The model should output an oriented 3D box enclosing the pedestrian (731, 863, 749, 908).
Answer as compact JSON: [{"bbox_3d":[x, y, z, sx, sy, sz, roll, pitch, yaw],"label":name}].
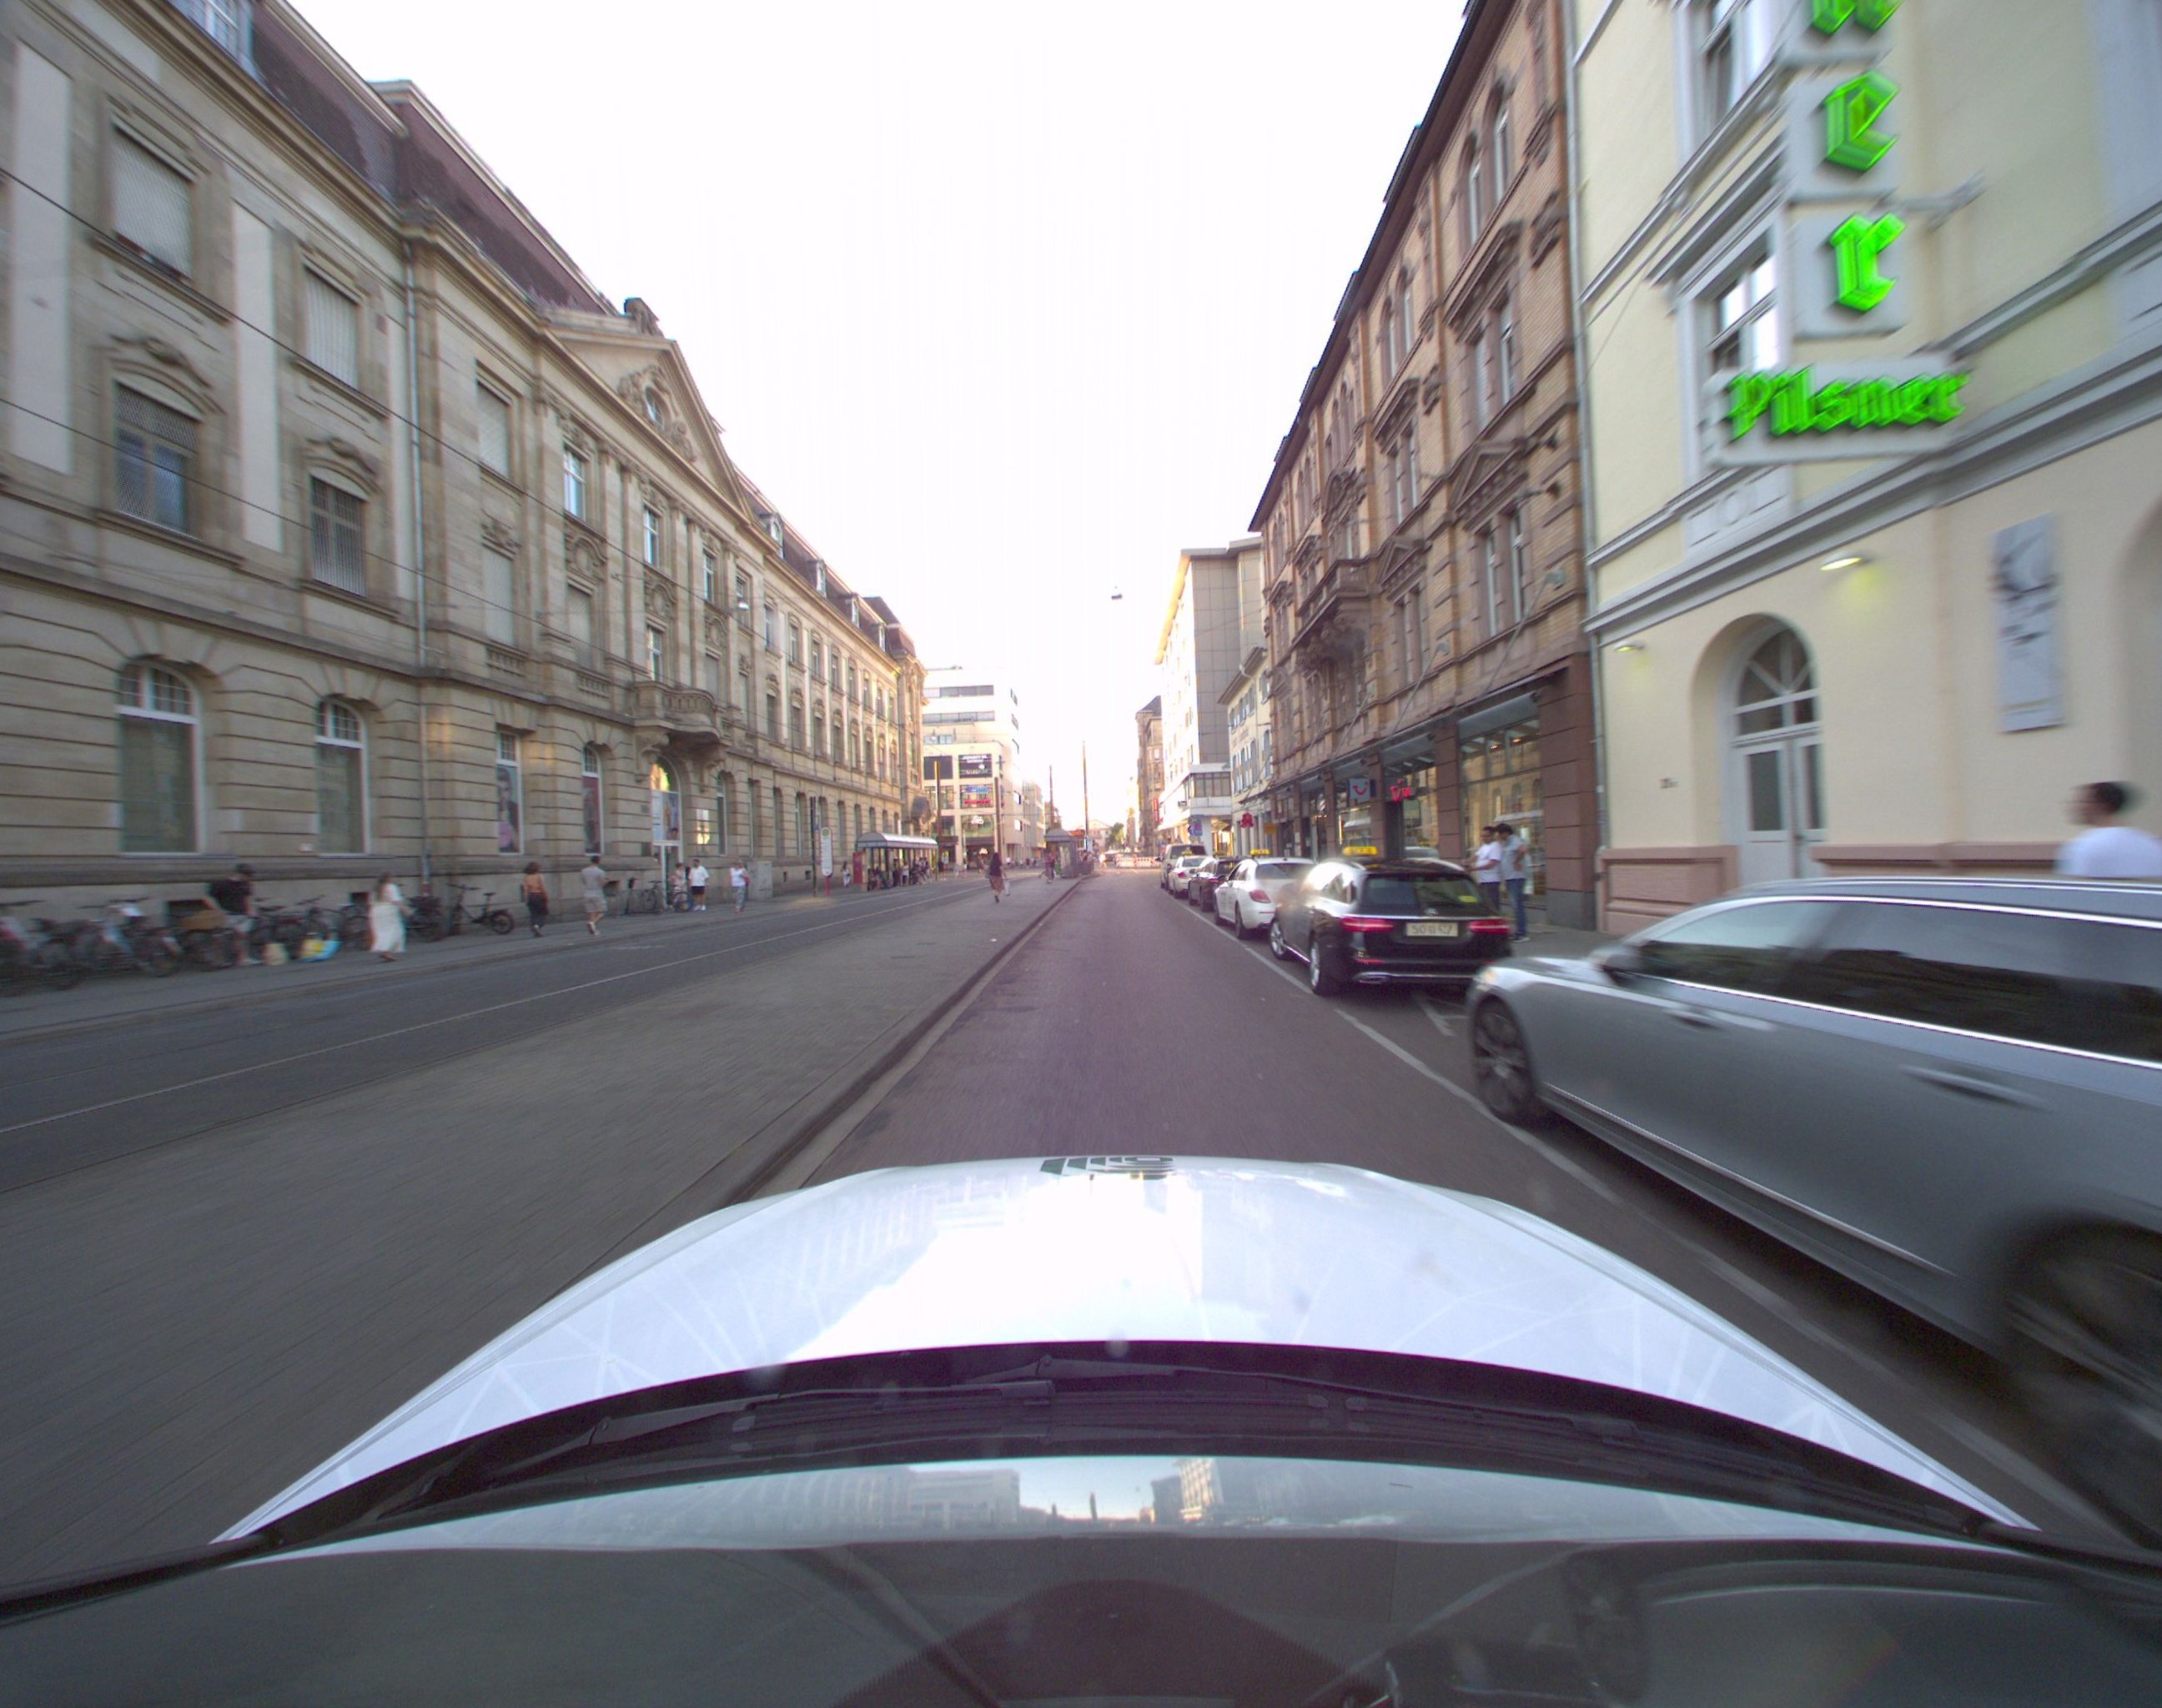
[{"bbox_3d":[-12.341,1.134,29.459,0.443,1.605,0.565,0,-1,-43],"label":"pedestrian"}]

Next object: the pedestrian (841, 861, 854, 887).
[{"bbox_3d":[-13.941,1.192,48.635,0.660,1.562,0.677,-2,0,-13],"label":"pedestrian"}]

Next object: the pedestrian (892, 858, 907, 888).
[{"bbox_3d":[-10.357,1.072,46.487,0.513,1.650,0.641,-2,-1,24],"label":"pedestrian"}]

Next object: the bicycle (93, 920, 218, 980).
[{"bbox_3d":[-14.399,1.485,12.676,1.567,0.874,0.451,-1,-1,6],"label":"bicycle"}]

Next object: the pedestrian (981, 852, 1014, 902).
[{"bbox_3d":[-2.574,0.707,25.236,0.843,1.501,0.901,-2,0,1],"label":"pedestrian"}]

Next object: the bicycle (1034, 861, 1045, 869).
[{"bbox_3d":[-6.336,1.692,124.418,1.688,1.122,0.451,-1,-1,3],"label":"bicycle"}]

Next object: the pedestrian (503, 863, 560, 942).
[{"bbox_3d":[-12.394,1.084,18.385,0.690,1.712,0.815,-2,0,1],"label":"pedestrian"}]

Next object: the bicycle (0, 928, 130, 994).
[{"bbox_3d":[-14.503,1.517,11.580,1.567,0.874,0.451,-1,-1,6],"label":"bicycle"}]

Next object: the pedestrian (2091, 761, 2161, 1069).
[{"bbox_3d":[6.273,0.308,4.399,0.757,1.689,0.551,-7,0,1],"label":"pedestrian"}]

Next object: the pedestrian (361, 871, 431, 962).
[{"bbox_3d":[-11.488,1.027,13.682,0.693,1.466,0.553,-2,0,-14],"label":"pedestrian"}]

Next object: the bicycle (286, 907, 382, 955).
[{"bbox_3d":[-14.641,1.505,15.971,1.567,0.874,0.451,-1,-1,6],"label":"bicycle"}]

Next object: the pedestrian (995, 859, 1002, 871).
[{"bbox_3d":[-9.472,1.244,93.267,0.636,1.420,0.419,-2,0,3],"label":"pedestrian"}]

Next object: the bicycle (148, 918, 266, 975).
[{"bbox_3d":[-14.269,1.500,13.309,1.567,0.874,0.451,-1,-1,6],"label":"bicycle"}]

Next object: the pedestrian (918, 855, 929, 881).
[{"bbox_3d":[-10.382,0.910,53.725,0.675,1.691,0.635,-2,-1,-13],"label":"pedestrian"}]

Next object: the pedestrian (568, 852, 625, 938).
[{"bbox_3d":[-10.578,0.876,17.796,0.690,1.813,0.815,-2,0,1],"label":"pedestrian"}]

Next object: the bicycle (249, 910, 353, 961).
[{"bbox_3d":[-14.177,1.484,14.810,1.567,0.874,0.451,-1,-1,6],"label":"bicycle"}]

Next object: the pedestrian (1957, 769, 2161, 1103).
[{"bbox_3d":[5.445,0.431,4.440,0.614,1.689,0.488,-7,0,17],"label":"pedestrian"}]

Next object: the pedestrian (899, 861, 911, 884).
[{"bbox_3d":[-10.508,1.098,48.620,0.515,1.327,0.639,-2,-1,5],"label":"pedestrian"}]

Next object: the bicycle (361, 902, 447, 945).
[{"bbox_3d":[-14.628,1.505,17.596,1.567,0.874,0.451,-1,-1,6],"label":"bicycle"}]

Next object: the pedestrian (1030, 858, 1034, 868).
[{"bbox_3d":[-7.024,1.300,116.481,0.388,1.515,0.505,-2,-1,0],"label":"pedestrian"}]

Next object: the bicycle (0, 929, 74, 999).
[{"bbox_3d":[-14.586,1.477,10.997,1.567,0.874,0.451,-1,-1,6],"label":"bicycle"}]

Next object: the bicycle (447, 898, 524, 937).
[{"bbox_3d":[-14.225,1.509,19.461,1.567,0.874,0.451,-1,-1,6],"label":"bicycle"}]

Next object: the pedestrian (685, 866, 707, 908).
[{"bbox_3d":[-13.630,1.167,28.830,0.435,1.440,0.575,-2,-1,38],"label":"pedestrian"}]

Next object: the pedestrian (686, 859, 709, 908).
[{"bbox_3d":[-13.022,0.983,27.660,0.474,1.642,0.562,-1,-1,1],"label":"pedestrian"}]

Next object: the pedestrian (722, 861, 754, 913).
[{"bbox_3d":[-10.632,1.008,25.247,0.657,1.562,0.680,-2,0,1],"label":"pedestrian"}]

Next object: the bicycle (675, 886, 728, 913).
[{"bbox_3d":[-12.532,1.499,26.928,1.567,0.874,0.451,-1,-1,6],"label":"bicycle"}]

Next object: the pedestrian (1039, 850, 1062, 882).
[{"bbox_3d":[-1.560,0.609,41.629,0.679,1.638,0.866,-2,-1,42],"label":"pedestrian"}]

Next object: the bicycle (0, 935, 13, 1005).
[{"bbox_3d":[-14.576,1.498,10.350,1.567,0.874,0.451,-1,-1,6],"label":"bicycle"}]

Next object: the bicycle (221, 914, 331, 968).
[{"bbox_3d":[-13.900,1.502,14.064,1.567,0.874,0.451,-1,-1,6],"label":"bicycle"}]

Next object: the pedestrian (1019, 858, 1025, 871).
[{"bbox_3d":[-8.050,1.410,111.335,0.644,1.674,0.532,-2,-1,10],"label":"pedestrian"}]

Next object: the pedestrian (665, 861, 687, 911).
[{"bbox_3d":[-13.503,1.073,27.158,0.333,1.642,0.607,-1,-1,9],"label":"pedestrian"}]
